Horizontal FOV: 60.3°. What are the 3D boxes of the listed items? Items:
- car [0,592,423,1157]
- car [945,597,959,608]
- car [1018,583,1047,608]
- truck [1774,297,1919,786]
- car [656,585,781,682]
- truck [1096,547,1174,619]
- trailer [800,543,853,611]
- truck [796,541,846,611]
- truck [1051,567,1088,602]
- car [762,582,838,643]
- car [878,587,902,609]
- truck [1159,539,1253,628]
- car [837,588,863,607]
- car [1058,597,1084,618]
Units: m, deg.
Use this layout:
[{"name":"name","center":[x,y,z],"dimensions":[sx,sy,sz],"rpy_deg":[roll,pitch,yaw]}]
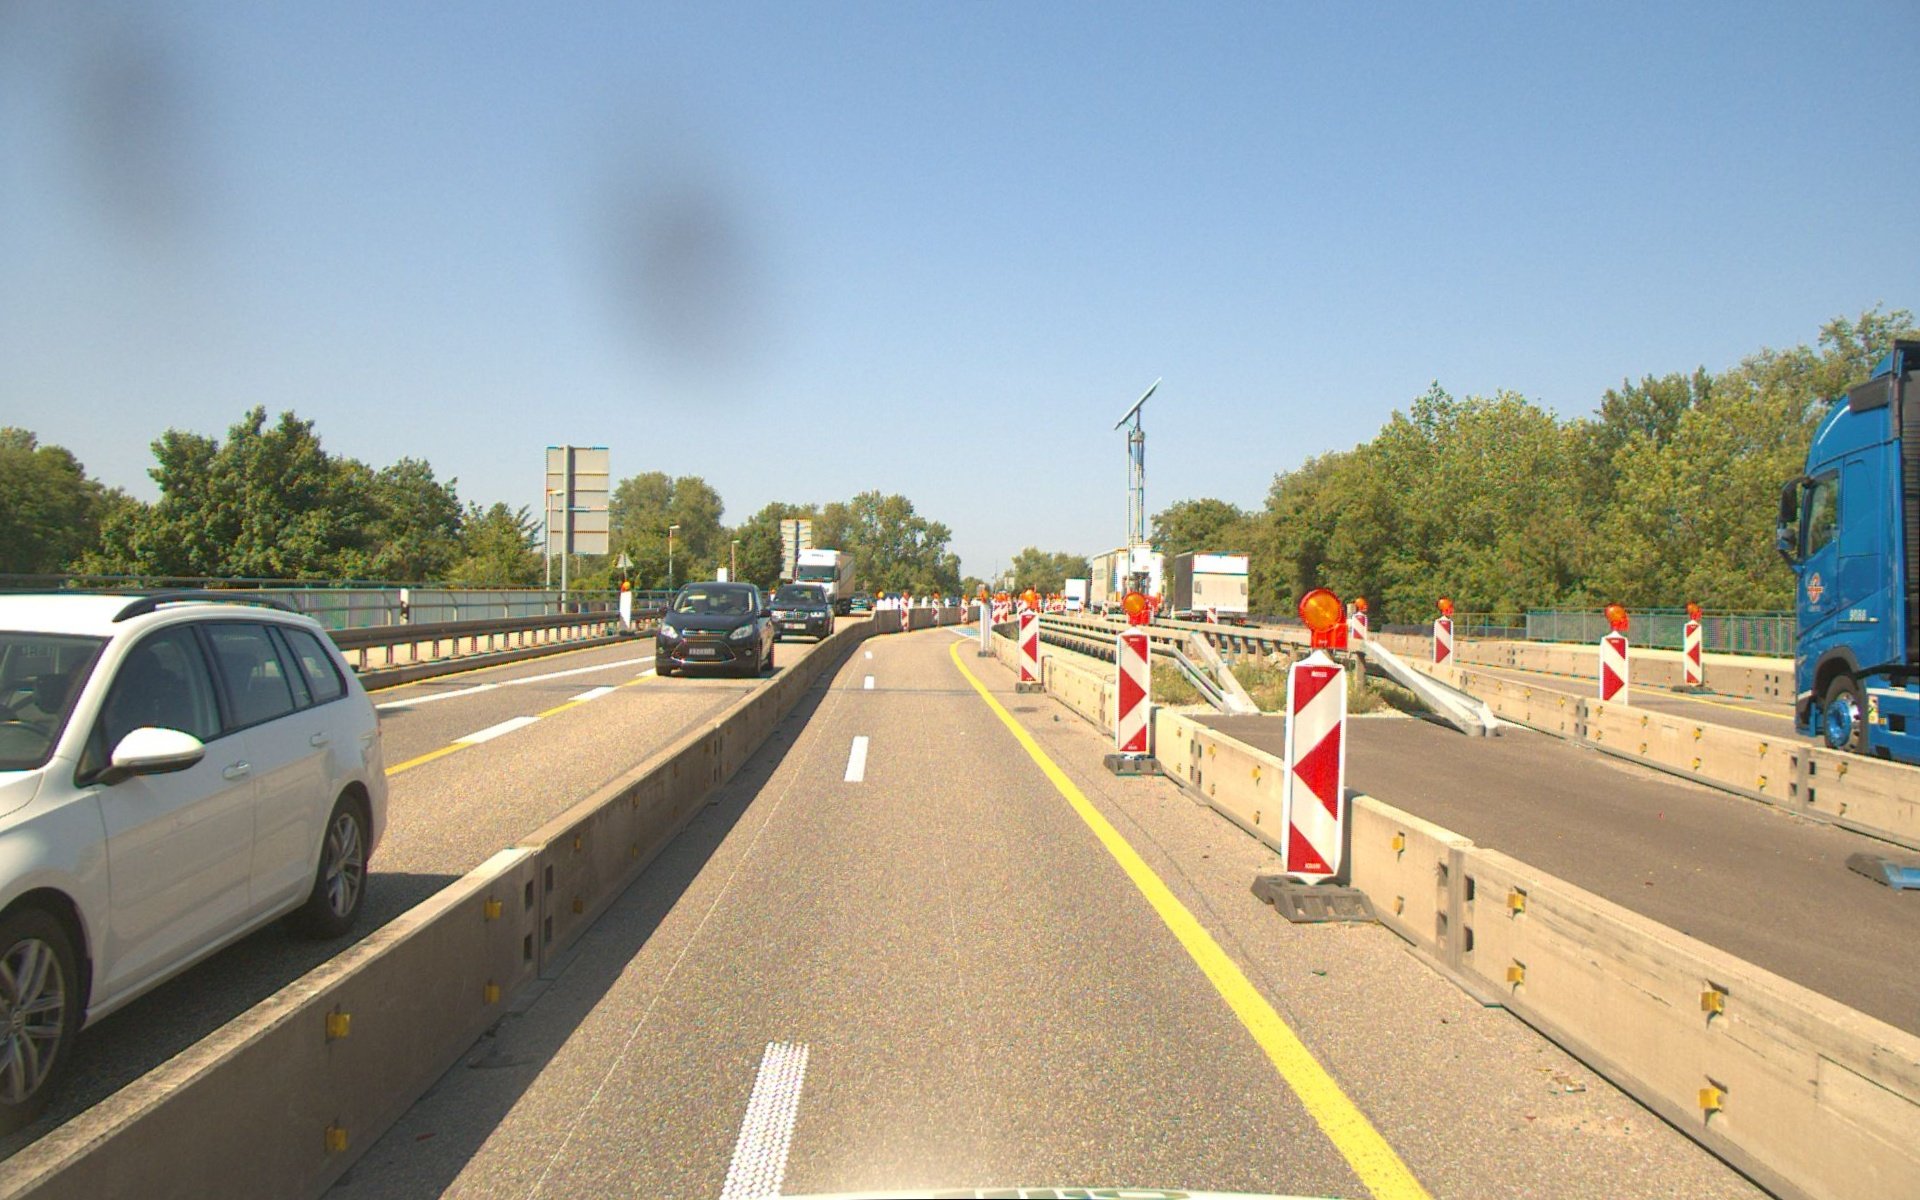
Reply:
[{"name":"car","center":[-3.413,0.705,5.808],"dimensions":[1.778,1.442,4.152],"rpy_deg":[1,0,-2]},{"name":"car","center":[-1.072,0.315,222.421],"dimensions":[1.701,1.502,4.646],"rpy_deg":[0,0,1]},{"name":"car","center":[5.289,-0.318,120.797],"dimensions":[1.780,1.807,3.999],"rpy_deg":[0,0,-2]},{"name":"truck","center":[9.459,-0.499,13.618],"dimensions":[2.637,4.174,7.306],"rpy_deg":[0,0,7]},{"name":"car","center":[-4.195,0.538,29.251],"dimensions":[1.703,1.579,3.941],"rpy_deg":[1,0,-2]},{"name":"truck","center":[9.553,-0.900,91.078],"dimensions":[3.320,3.840,7.230],"rpy_deg":[0,0,-2]},{"name":"trailer","center":[-8.703,-1.419,109.113],"dimensions":[2.705,4.209,14.527],"rpy_deg":[0,0,-2]},{"name":"truck","center":[-8.515,-1.441,101.981],"dimensions":[2.694,4.209,6.414],"rpy_deg":[0,0,-1]},{"name":"truck","center":[13.987,-1.928,212.102],"dimensions":[4.133,4.341,10.241],"rpy_deg":[0,0,0]},{"name":"car","center":[-4.586,0.327,48.031],"dimensions":[1.825,1.660,4.565],"rpy_deg":[1,0,-1]},{"name":"car","center":[-5.155,-0.144,122.103],"dimensions":[1.754,1.596,3.871],"rpy_deg":[1,0,-2]},{"name":"truck","center":[10.210,-0.677,69.378],"dimensions":[2.581,3.487,7.231],"rpy_deg":[1,0,-2]},{"name":"car","center":[-9.258,-0.215,139.284],"dimensions":[1.893,1.534,4.469],"rpy_deg":[1,0,0]},{"name":"car","center":[10.017,0.677,149.097],"dimensions":[1.953,1.807,3.999],"rpy_deg":[0,0,-2]}]
